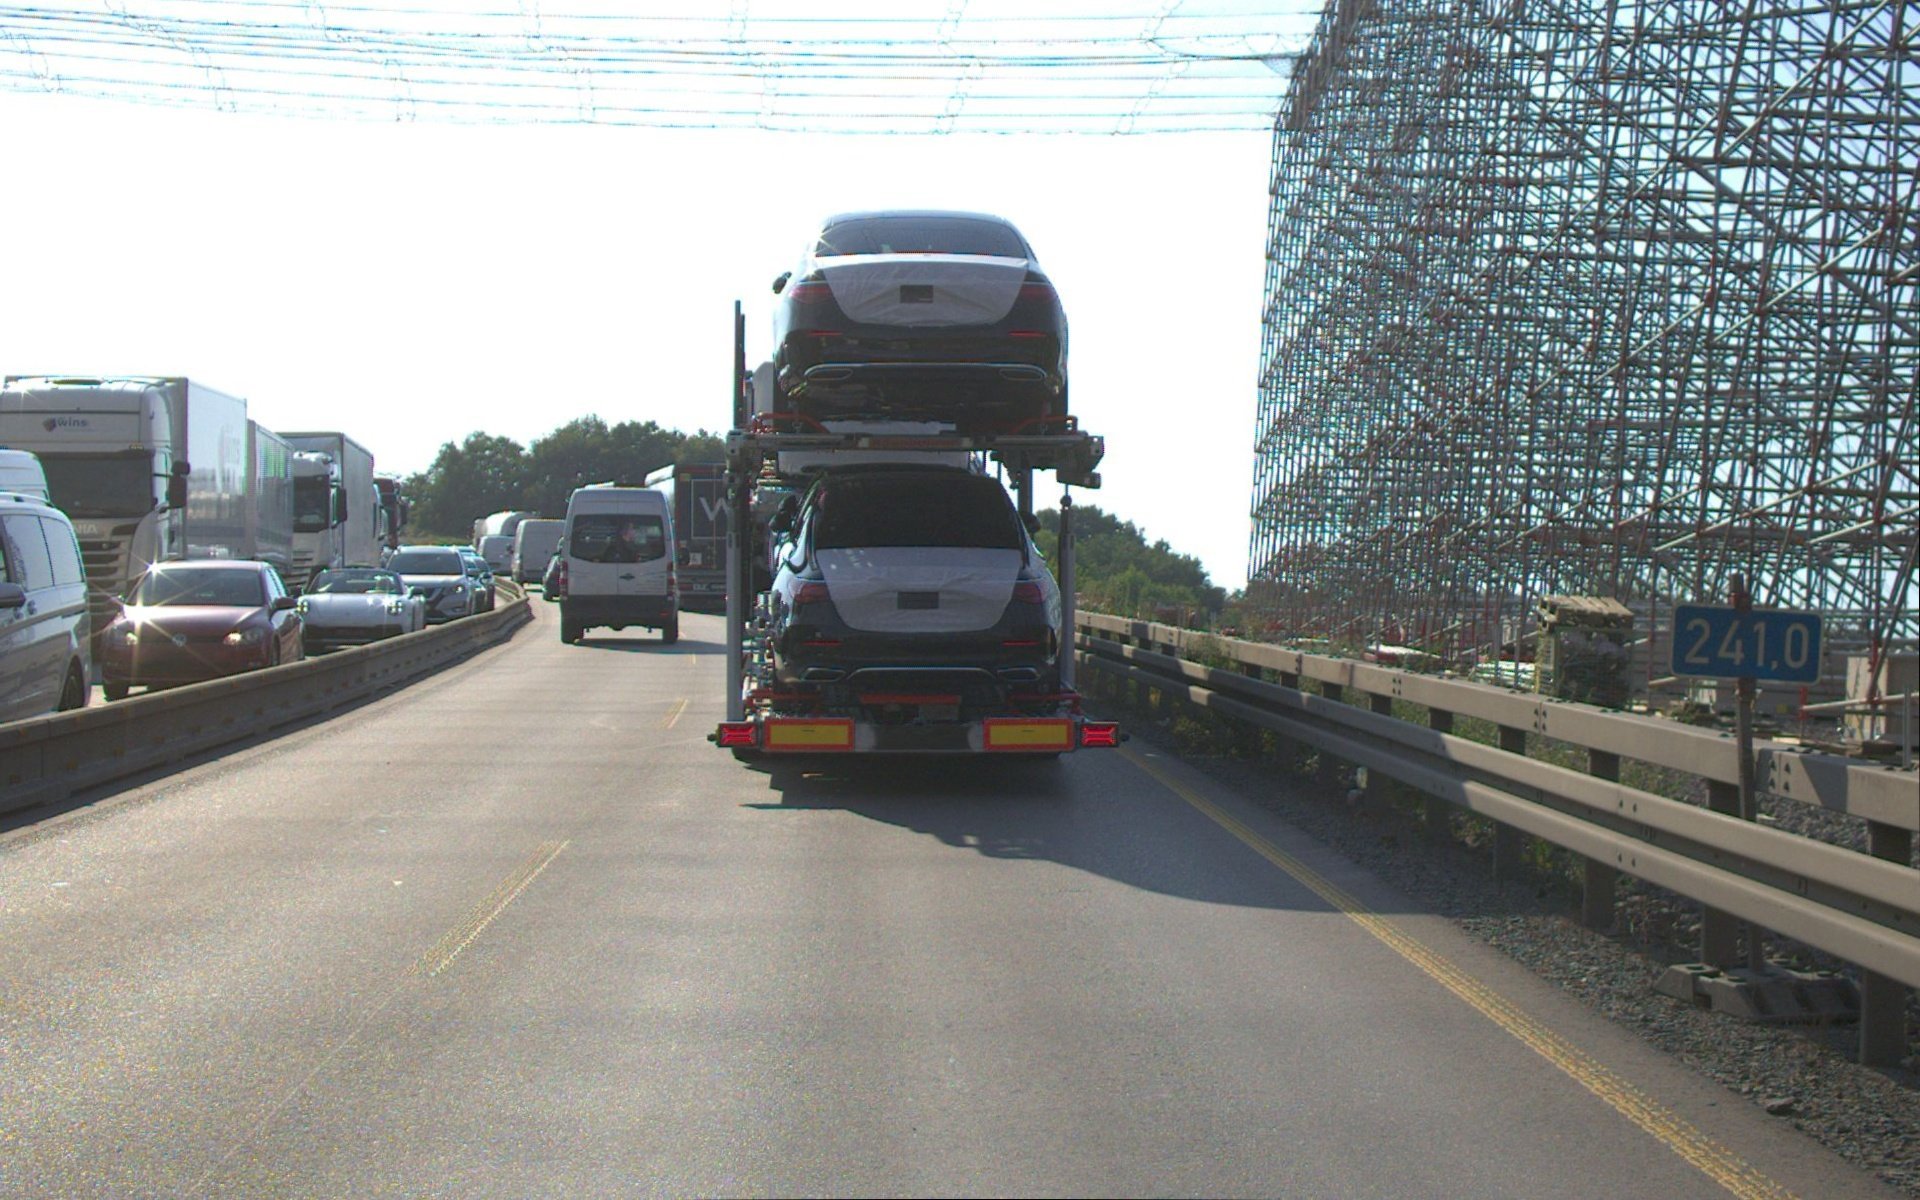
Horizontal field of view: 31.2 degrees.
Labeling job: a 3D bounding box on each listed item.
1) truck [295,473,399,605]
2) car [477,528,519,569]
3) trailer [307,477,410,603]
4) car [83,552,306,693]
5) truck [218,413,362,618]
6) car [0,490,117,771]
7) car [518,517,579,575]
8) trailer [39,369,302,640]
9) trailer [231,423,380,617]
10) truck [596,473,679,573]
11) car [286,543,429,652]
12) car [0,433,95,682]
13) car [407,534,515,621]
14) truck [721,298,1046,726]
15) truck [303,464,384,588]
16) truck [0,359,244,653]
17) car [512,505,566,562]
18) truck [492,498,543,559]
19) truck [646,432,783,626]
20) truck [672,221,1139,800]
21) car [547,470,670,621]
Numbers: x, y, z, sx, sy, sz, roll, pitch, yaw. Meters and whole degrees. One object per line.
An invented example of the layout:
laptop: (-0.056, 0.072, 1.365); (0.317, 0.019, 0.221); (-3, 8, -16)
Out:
truck: (-16.333, -1.610, 91.833); (2.413, 3.358, 5.619); (1, 1, -7)
car: (-21.095, -2.330, 156.953); (1.837, 1.829, 4.001); (1, 1, -8)
trailer: (-17.084, -1.669, 98.140); (2.306, 3.350, 12.055); (1, 1, -7)
car: (-8.189, 0.204, 37.117); (1.808, 1.415, 4.519); (1, 1, -6)
truck: (-13.745, -1.700, 70.840); (2.473, 4.032, 5.619); (1, 1, -7)
car: (-7.315, 0.177, 23.910); (1.808, 1.862, 5.282); (1, 1, -3)
car: (-12.837, -1.672, 107.060); (1.826, 1.766, 4.001); (1, 1, -7)
trailer: (-13.056, -1.493, 57.969); (2.669, 4.002, 13.336); (1, 1, -6)
trailer: (-14.643, -1.731, 77.771); (2.427, 3.949, 14.102); (1, 1, -7)
truck: (-12.293, -2.862, 130.510); (2.530, 3.635, 8.908); (1, 1, -9)
car: (-9.148, -0.062, 52.493); (1.808, 1.563, 4.367); (1, 1, -6)
car: (-11.706, -0.497, 39.412); (2.241, 2.703, 7.083); (1, 1, -4)
car: (-9.424, -0.440, 65.165); (1.808, 1.563, 4.367); (1, 1, -6)
truck: (-1.023, -0.833, 35.657); (2.837, 3.779, 9.988); (1, 1, -4)
truck: (-19.538, -2.319, 109.070); (2.431, 3.772, 5.619); (1, 1, -10)
truck: (-12.099, -1.291, 49.537); (2.630, 3.896, 7.206); (1, 1, -5)
car: (-15.517, -2.433, 126.568); (1.629, 2.007, 4.001); (1, 1, -11)
truck: (-23.698, -3.806, 184.040); (2.590, 3.159, 6.678); (1, 1, -8)
truck: (-7.117, -1.978, 98.340); (3.285, 5.219, 9.938); (1, 1, -7)
truck: (-0.529, -0.597, 26.236); (2.799, 3.485, 10.606); (1, 1, -2)
car: (-6.184, -0.938, 60.085); (1.920, 2.484, 5.410); (1, 1, -8)
